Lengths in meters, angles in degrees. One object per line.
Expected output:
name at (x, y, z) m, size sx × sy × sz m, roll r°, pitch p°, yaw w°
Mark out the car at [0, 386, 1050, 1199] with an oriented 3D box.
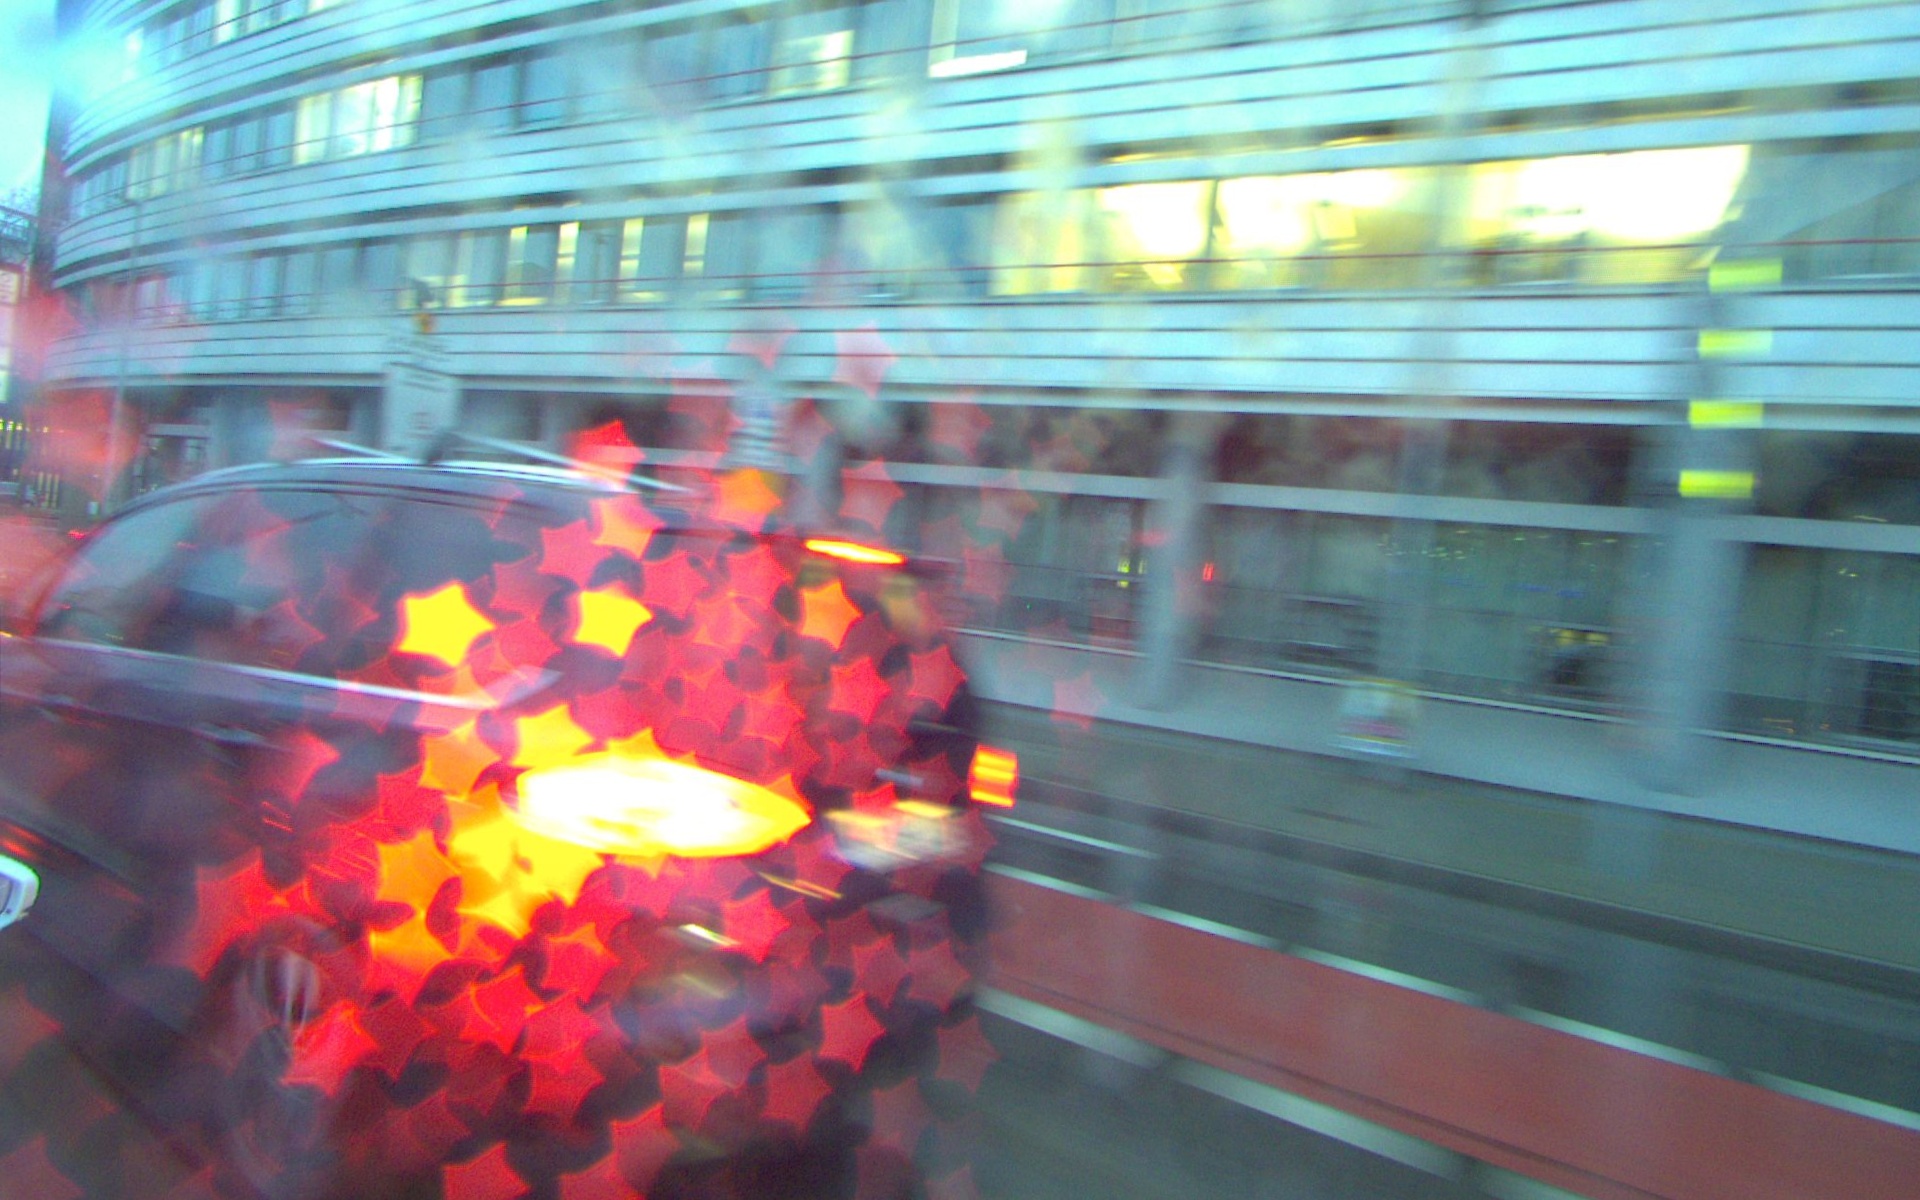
car at (-1.919, 0.407, 3.377) m, size 3.933 × 1.801 × 1.676 m, roll 7°, pitch 0°, yaw 31°
